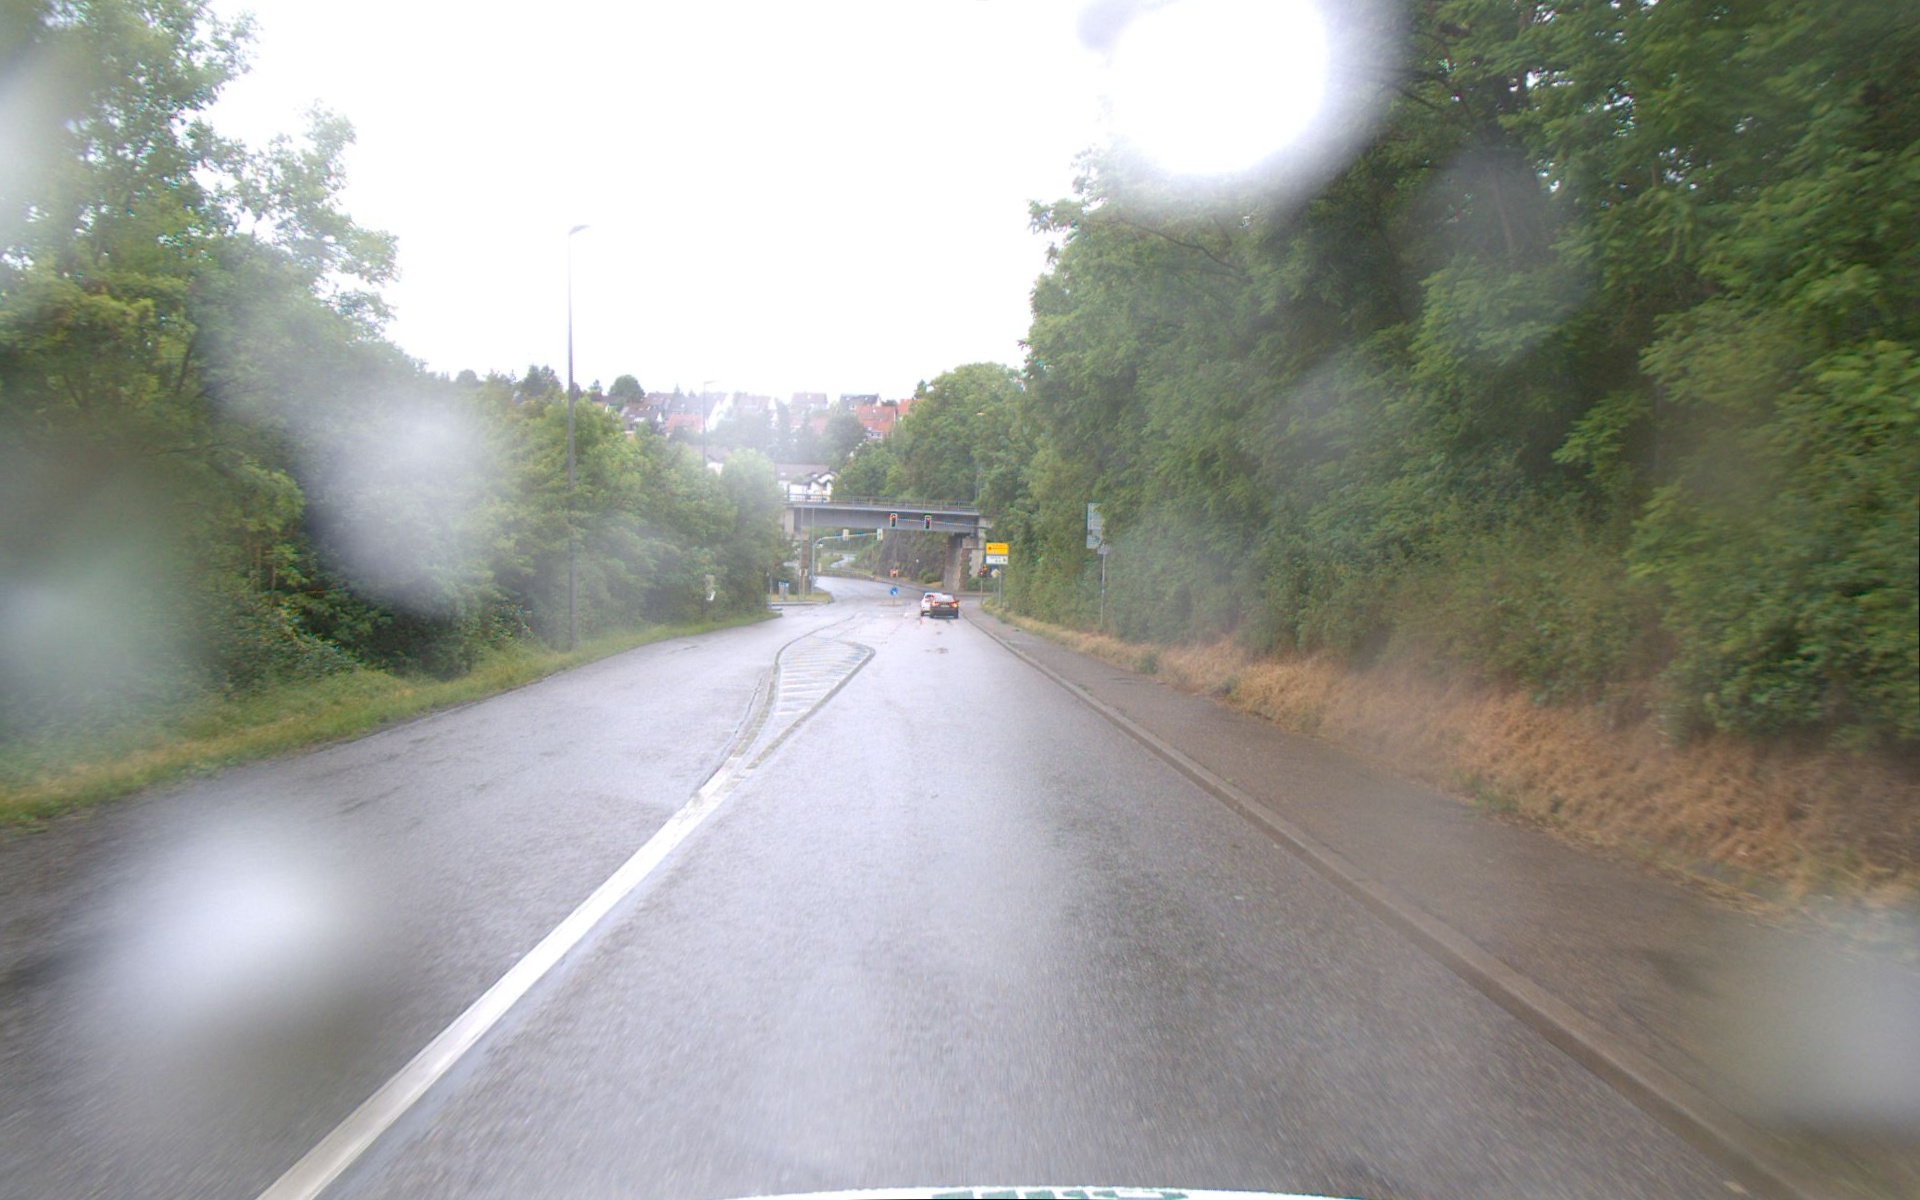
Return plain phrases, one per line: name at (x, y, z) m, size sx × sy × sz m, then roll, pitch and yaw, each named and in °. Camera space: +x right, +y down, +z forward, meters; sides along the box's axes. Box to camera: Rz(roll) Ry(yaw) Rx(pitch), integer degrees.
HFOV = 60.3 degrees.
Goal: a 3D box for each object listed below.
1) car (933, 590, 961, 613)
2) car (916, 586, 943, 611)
car at (-0.792, 0.088, 102.127) m, size 1.732 × 1.404 × 4.000 m, roll 0°, pitch 0°, yaw 0°
car at (-1.987, -0.109, 108.822) m, size 1.732 × 1.590 × 4.000 m, roll 0°, pitch 0°, yaw 0°
